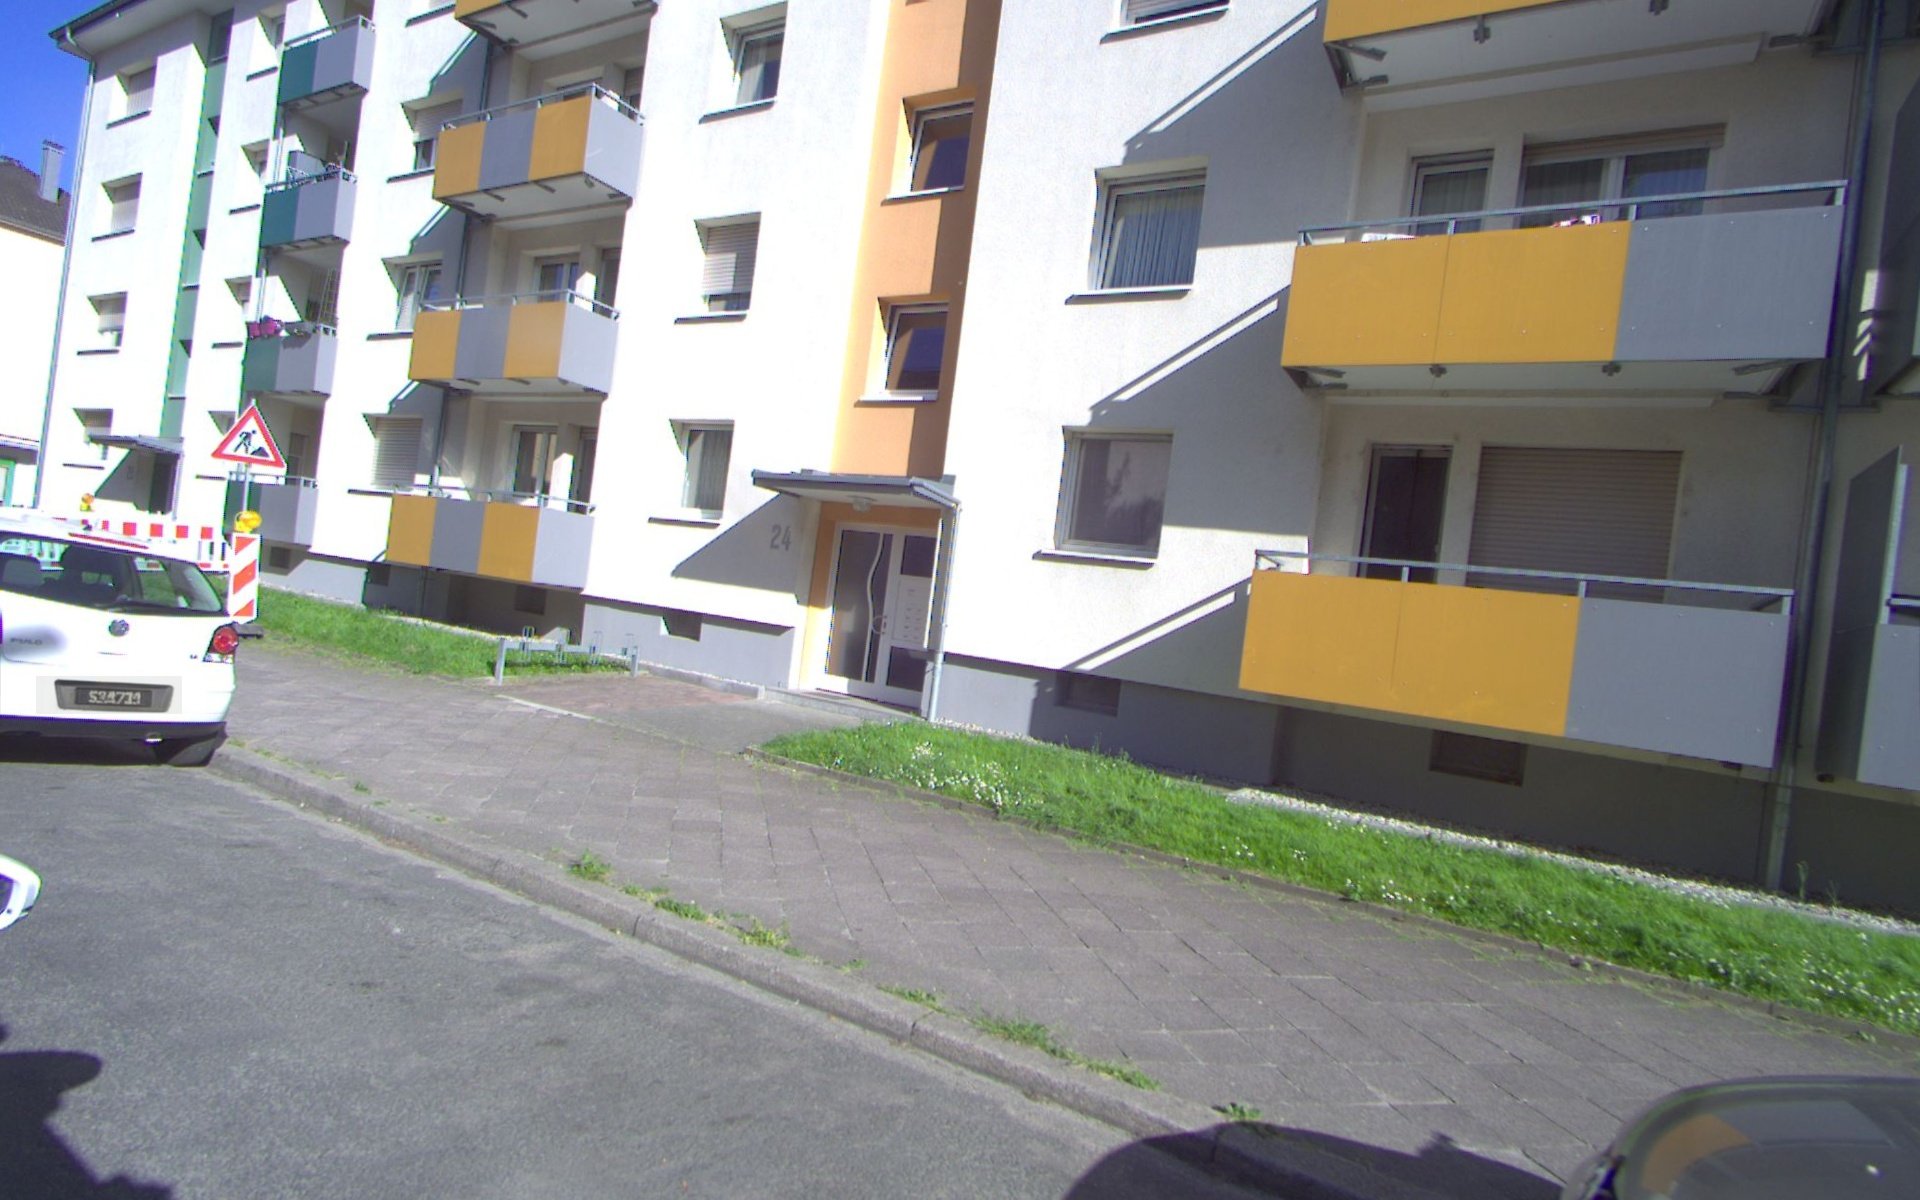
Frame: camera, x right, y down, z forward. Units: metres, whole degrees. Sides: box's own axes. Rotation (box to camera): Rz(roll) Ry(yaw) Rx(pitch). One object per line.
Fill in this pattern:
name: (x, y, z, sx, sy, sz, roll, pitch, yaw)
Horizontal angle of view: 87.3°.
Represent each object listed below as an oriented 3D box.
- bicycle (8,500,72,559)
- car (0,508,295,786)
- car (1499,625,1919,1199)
bicycle: (-20.423, -1.573, 22.325, 1.866, 1.136, 0.559, 8, 7, 31)
car: (-6.519, 0.122, 6.746, 3.753, 1.478, 1.692, 7, -4, 28)
car: (2.998, 1.179, 0.709, 4.524, 1.641, 1.903, 8, -1, 30)
